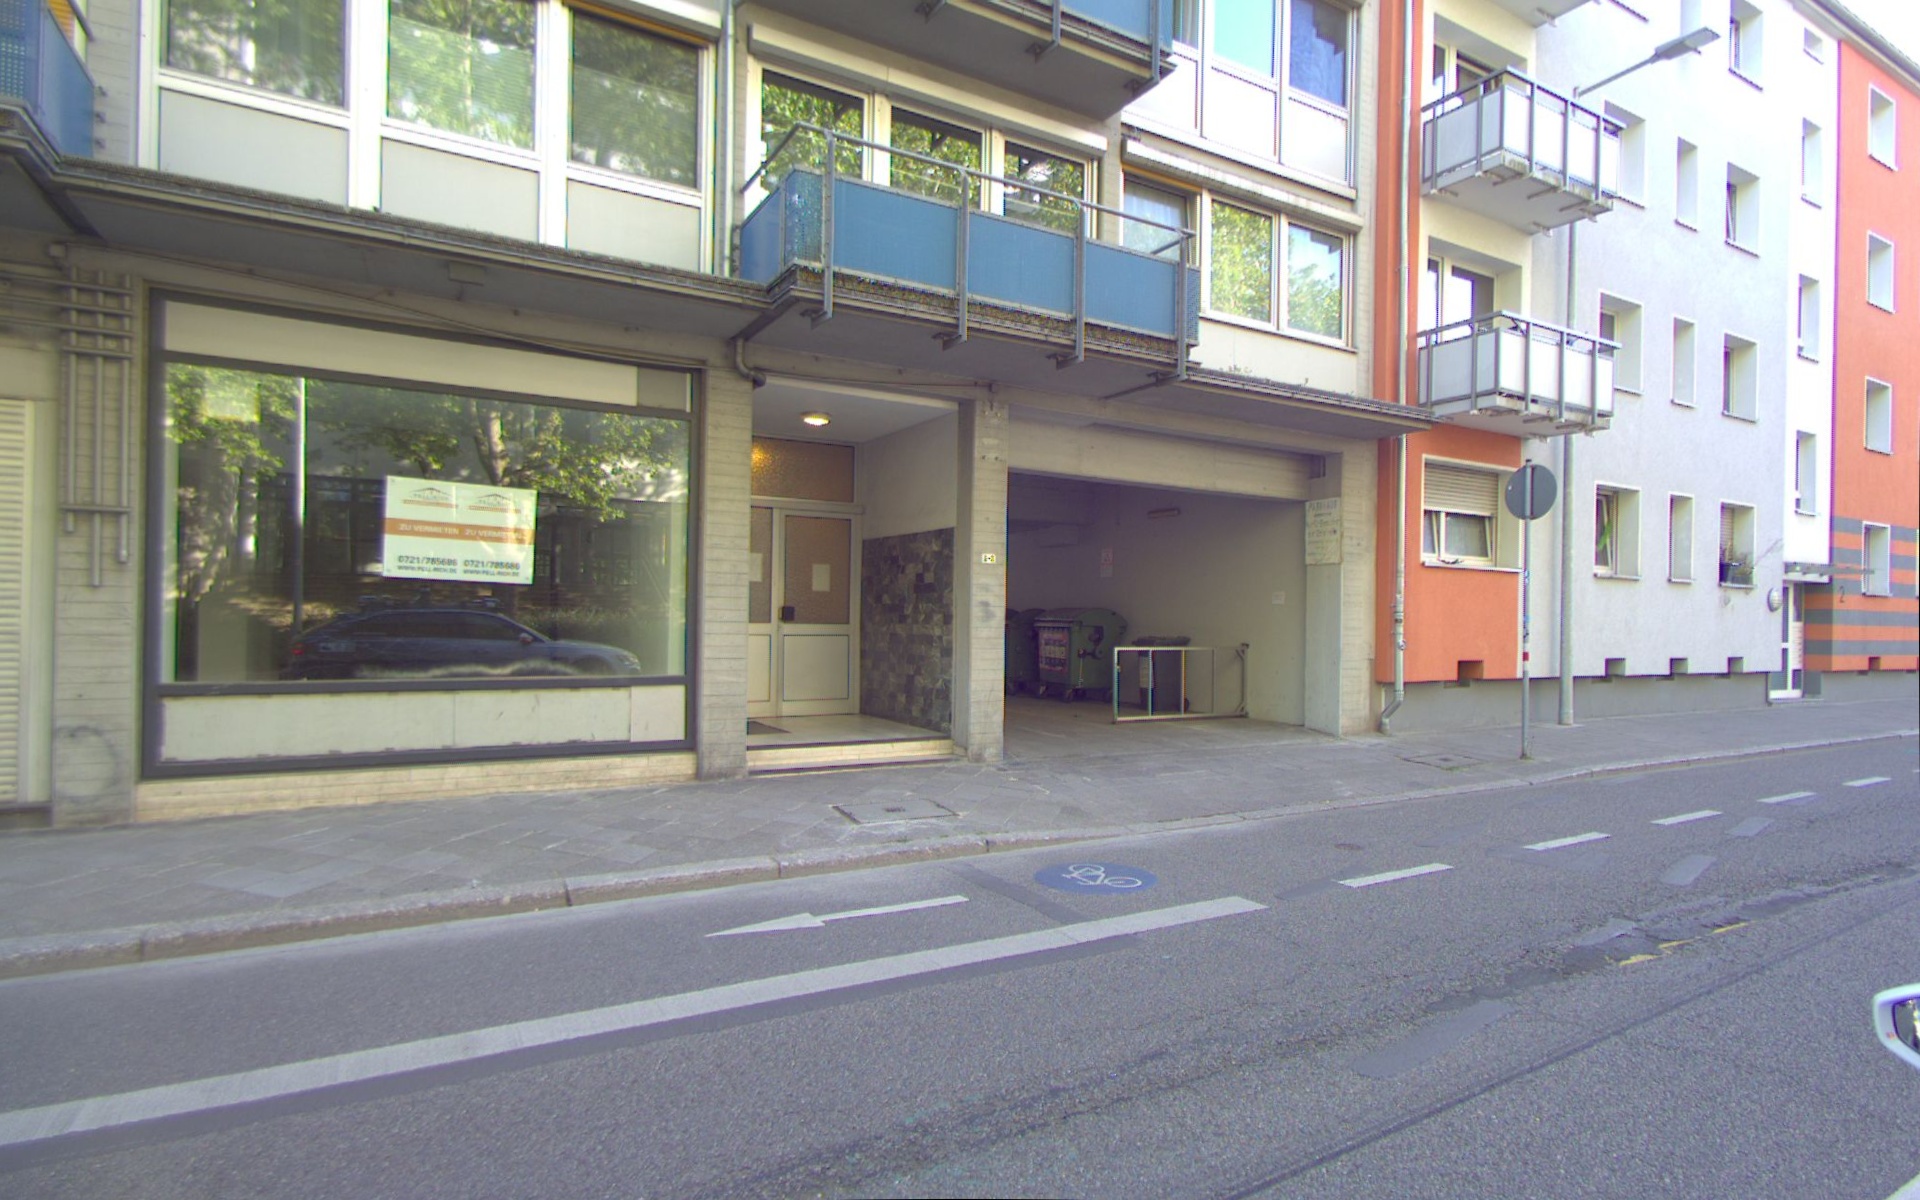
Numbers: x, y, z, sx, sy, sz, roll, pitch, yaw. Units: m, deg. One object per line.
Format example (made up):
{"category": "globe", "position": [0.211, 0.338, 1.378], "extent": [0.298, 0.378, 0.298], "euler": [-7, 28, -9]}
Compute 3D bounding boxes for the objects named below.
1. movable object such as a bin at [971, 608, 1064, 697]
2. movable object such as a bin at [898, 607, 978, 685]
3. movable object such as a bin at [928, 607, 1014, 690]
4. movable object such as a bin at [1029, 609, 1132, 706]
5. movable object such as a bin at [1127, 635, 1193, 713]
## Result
{"category": "movable object such as a bin", "position": [0.970, 0.864, 17.161], "extent": [1.116, 1.444, 1.201], "euler": [1, 0, -30]}
{"category": "movable object such as a bin", "position": [-0.448, 0.877, 19.608], "extent": [1.116, 1.444, 1.201], "euler": [1, 0, -30]}
{"category": "movable object such as a bin", "position": [0.199, 0.870, 18.459], "extent": [1.116, 1.444, 1.201], "euler": [1, 0, -30]}
{"category": "movable object such as a bin", "position": [1.881, 0.869, 15.802], "extent": [1.116, 1.444, 1.201], "euler": [1, 0, -30]}
{"category": "movable object such as a bin", "position": [2.879, 1.051, 14.492], "extent": [0.667, 1.079, 0.639], "euler": [1, 0, -30]}
